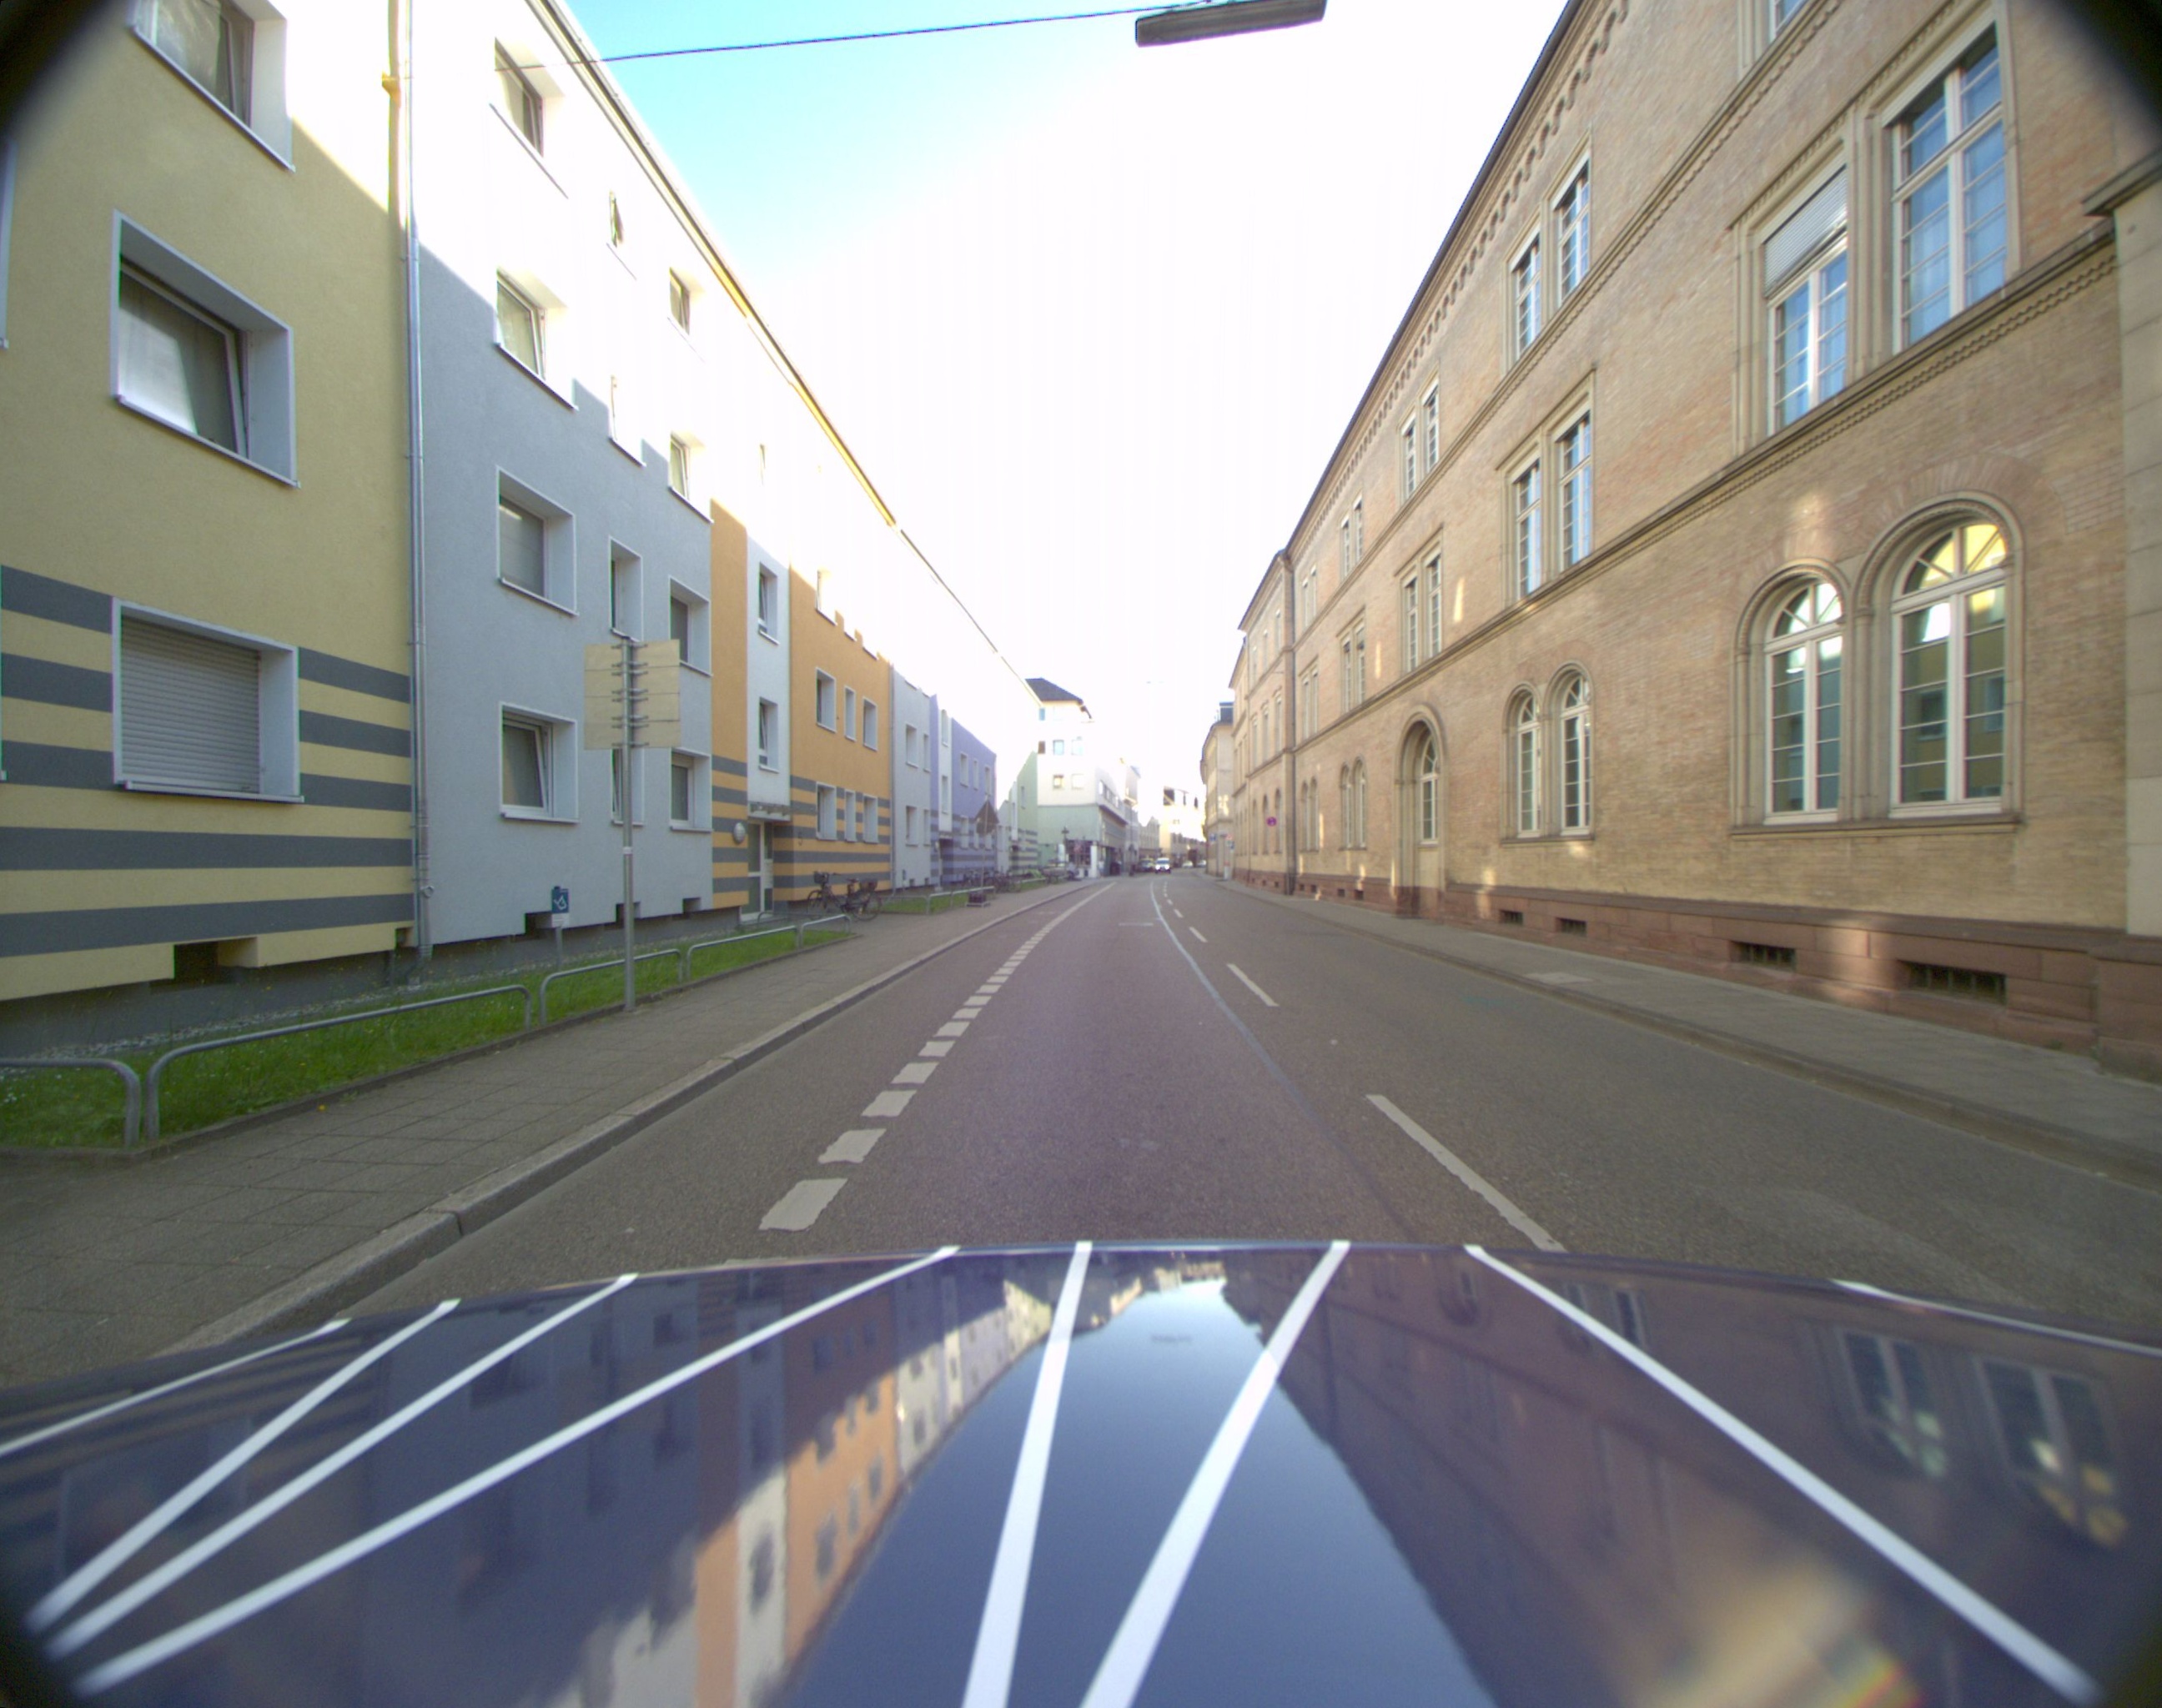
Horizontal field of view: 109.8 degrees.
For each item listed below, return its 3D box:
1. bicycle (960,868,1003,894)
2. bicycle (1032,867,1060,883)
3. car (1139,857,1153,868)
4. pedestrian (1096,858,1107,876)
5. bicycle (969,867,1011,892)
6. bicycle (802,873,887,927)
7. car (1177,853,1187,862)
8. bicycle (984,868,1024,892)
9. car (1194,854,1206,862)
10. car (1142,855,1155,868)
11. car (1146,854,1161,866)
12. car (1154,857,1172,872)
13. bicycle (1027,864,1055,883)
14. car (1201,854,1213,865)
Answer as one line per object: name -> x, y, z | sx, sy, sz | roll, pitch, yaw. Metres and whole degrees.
bicycle -> -4.157, 1.128, 31.826 | 1.710, 1.039, 0.636 | 1, 0, 2
bicycle -> -2.179, 1.321, 47.549 | 1.711, 0.972, 0.516 | 1, 0, -2
car -> 8.630, 1.103, 100.740 | 1.634, 1.405, 3.687 | 0, 0, 8
pedestrian -> 1.738, 1.090, 64.087 | 0.707, 1.510, 0.662 | 0, 0, 18
bicycle -> -3.955, 1.104, 32.968 | 1.710, 1.075, 0.636 | 1, 0, 1
bicycle -> -5.294, 1.024, 17.073 | 1.711, 1.152, 0.636 | 1, 0, -2
car -> 19.905, 0.608, 149.627 | 1.534, 1.714, 3.743 | 0, 0, 16
bicycle -> -3.395, 1.154, 33.730 | 1.711, 1.029, 0.636 | 1, 0, -2
car -> 25.711, 0.795, 163.596 | 1.925, 1.714, 4.236 | 0, 0, 19
car -> 9.456, 0.991, 106.015 | 1.535, 1.714, 3.741 | 0, 0, 8
car -> 10.770, 0.834, 112.631 | 1.861, 1.714, 3.742 | 0, 0, 11
car -> 9.688, 1.207, 89.604 | 1.921, 1.712, 4.964 | 0, 0, 9
bicycle -> -2.426, 1.194, 46.088 | 1.711, 1.097, 0.584 | 1, 0, -2
car -> 19.949, 0.793, 120.352 | 1.662, 1.714, 3.743 | 0, 0, 14
